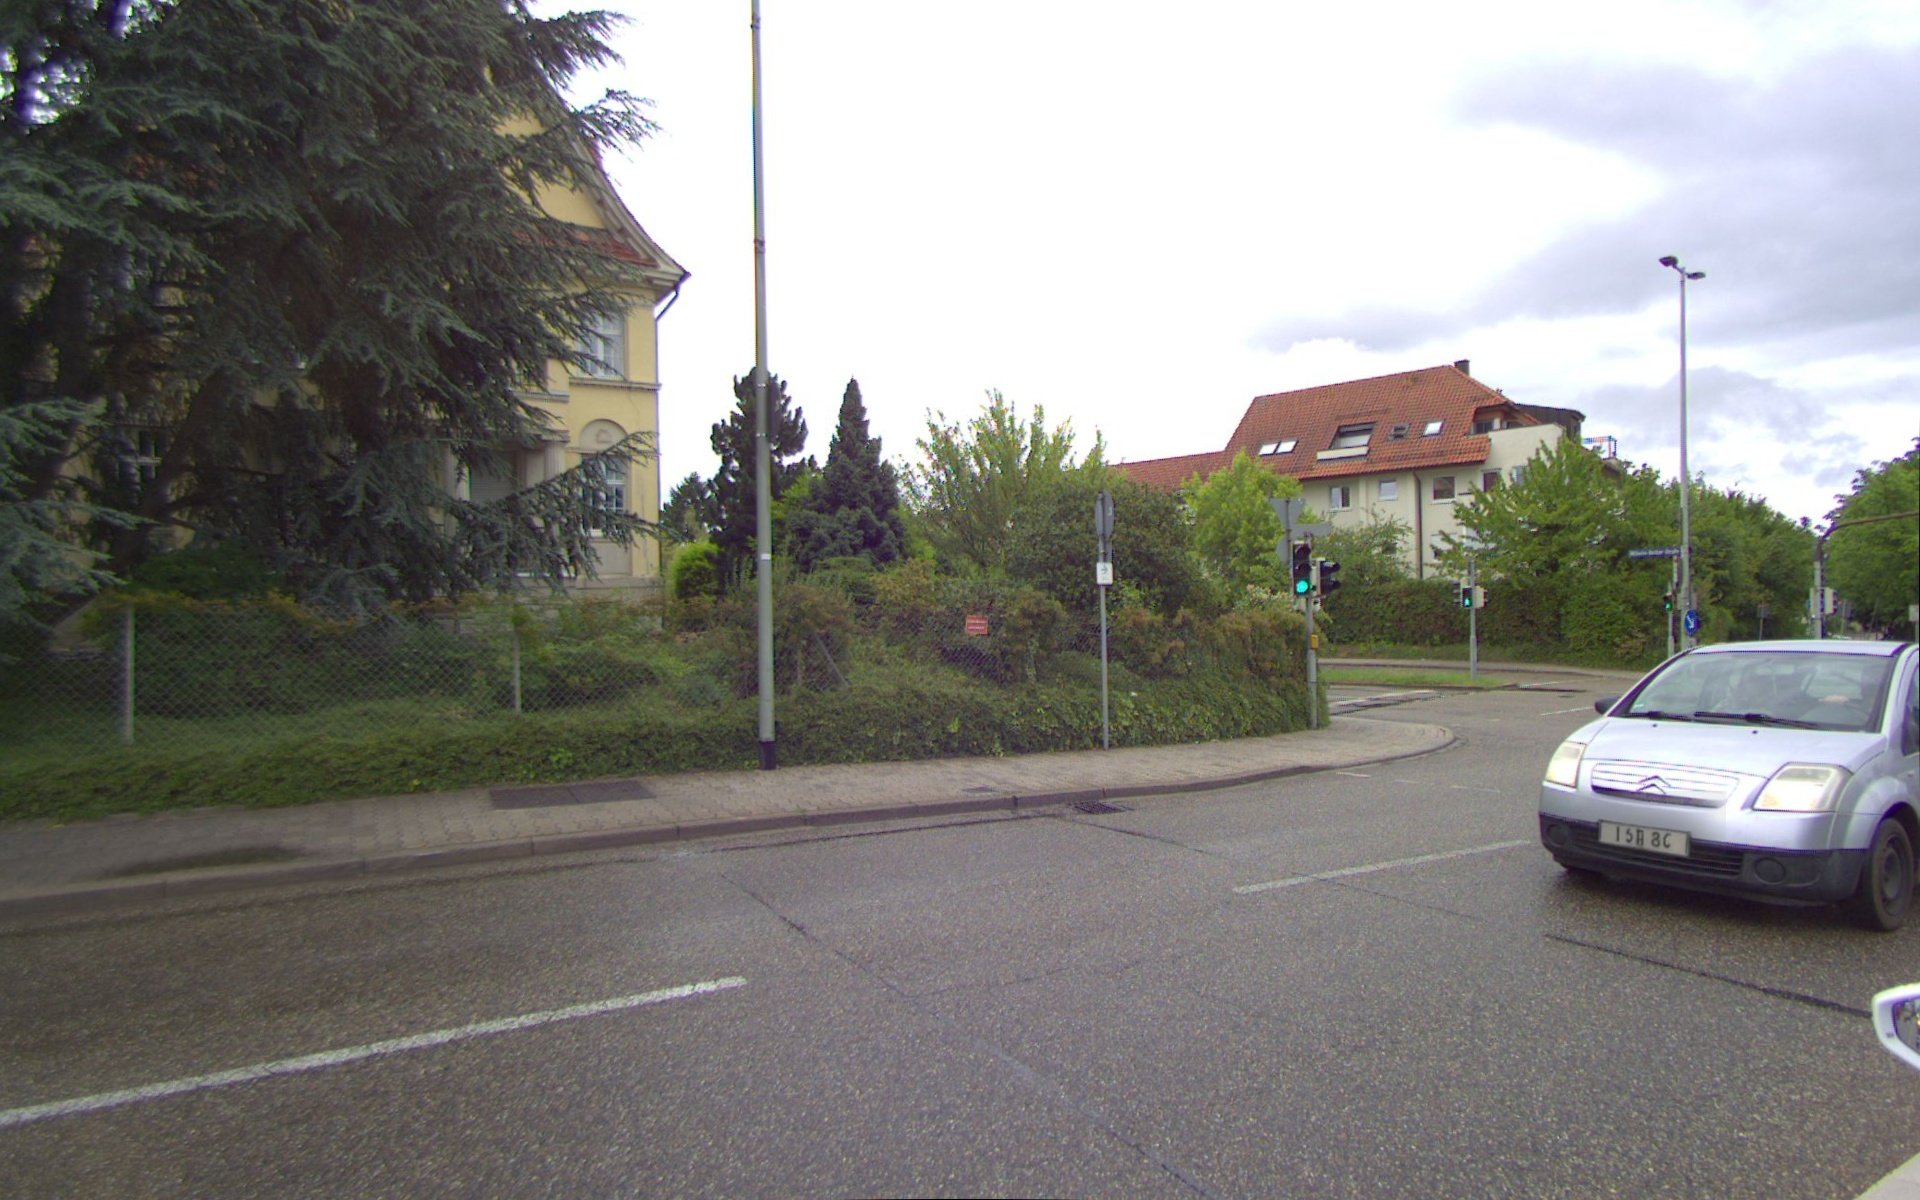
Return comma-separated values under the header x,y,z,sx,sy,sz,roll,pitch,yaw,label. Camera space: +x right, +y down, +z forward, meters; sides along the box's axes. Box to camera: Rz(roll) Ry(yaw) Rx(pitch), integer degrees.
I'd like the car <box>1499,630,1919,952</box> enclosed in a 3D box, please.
x,y,z,sx,sy,sz,roll,pitch,yaw,label
5.163,0.940,6.240,3.477,1.479,1.631,1,-2,-30,car

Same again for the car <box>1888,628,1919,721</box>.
x,y,z,sx,sy,sz,roll,pitch,yaw,label
18.284,1.309,17.899,3.510,1.620,1.690,1,-2,-32,car
